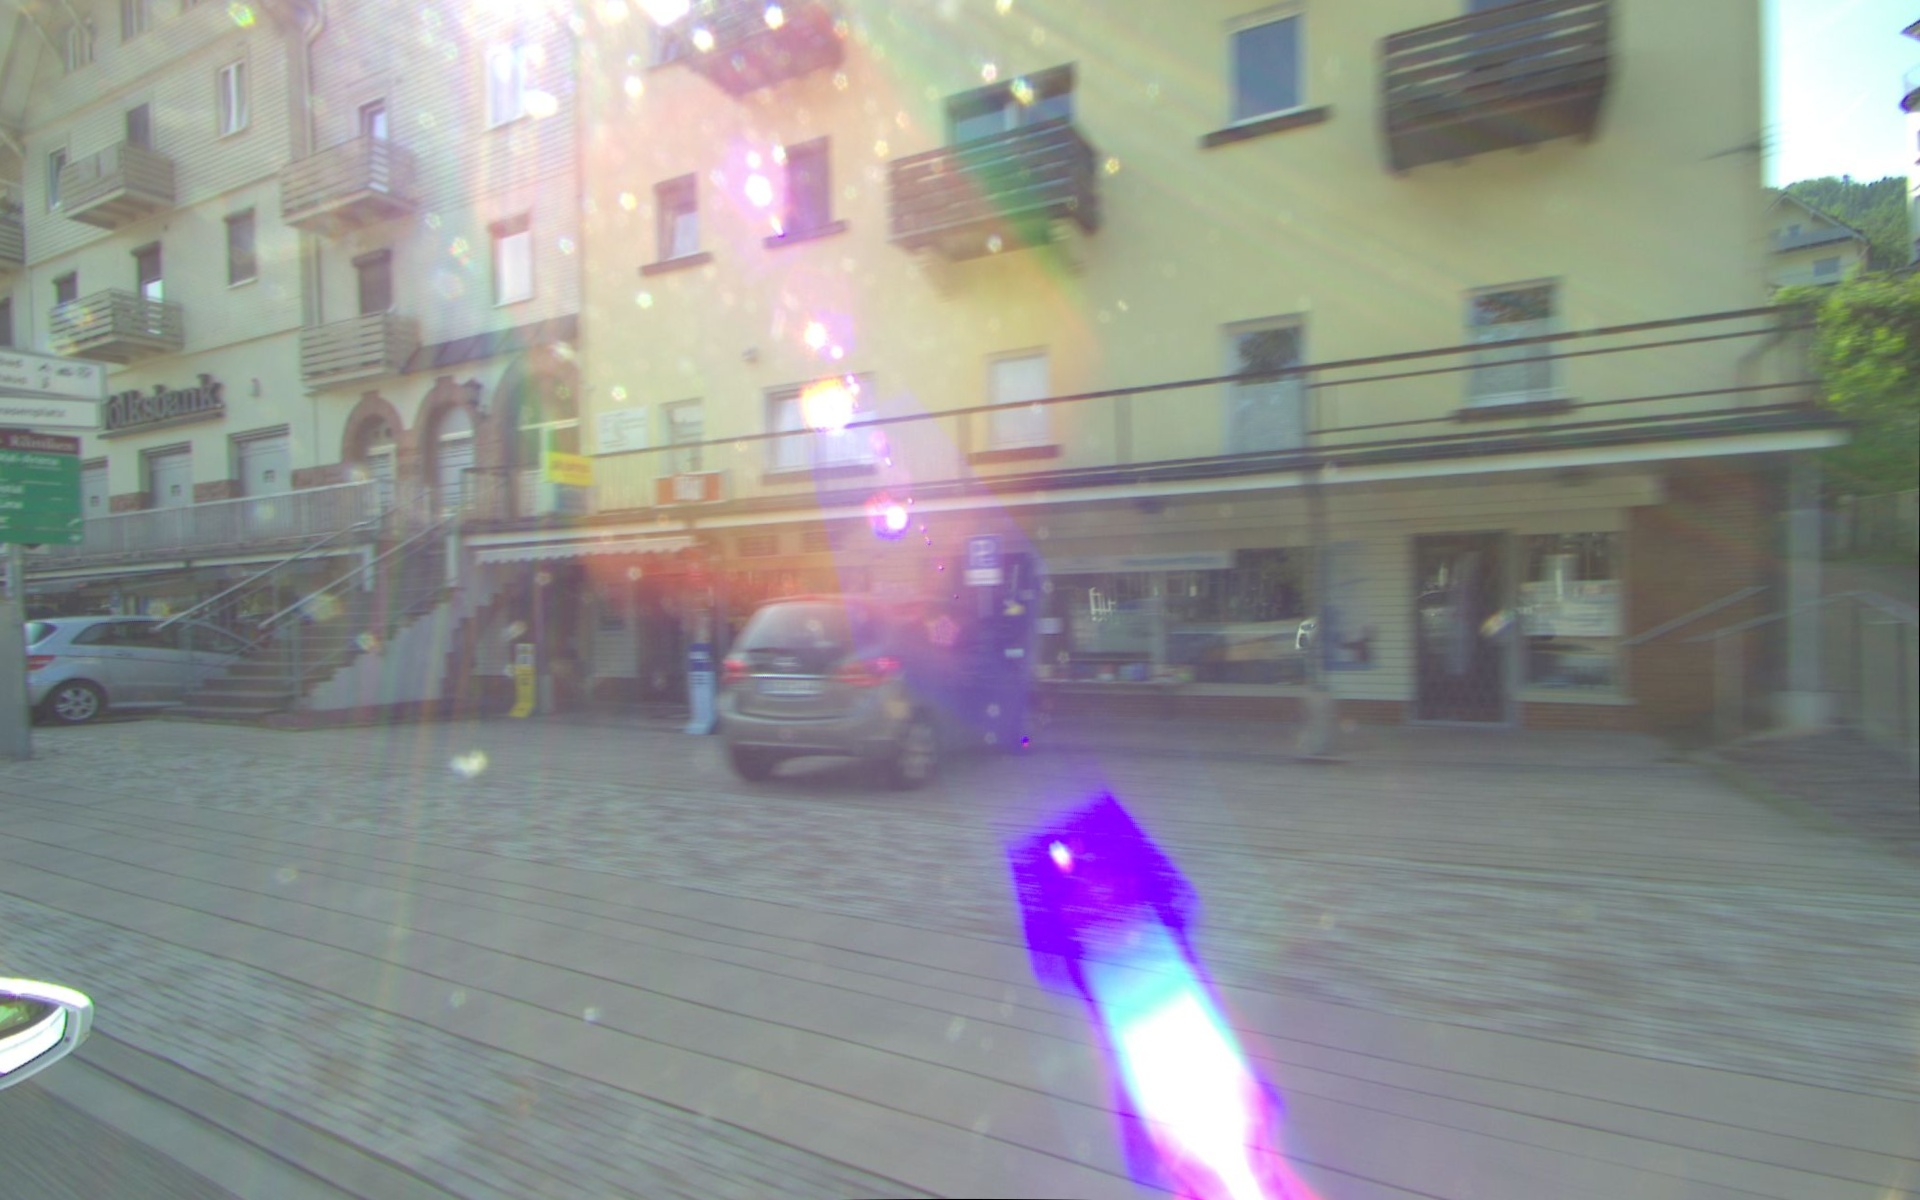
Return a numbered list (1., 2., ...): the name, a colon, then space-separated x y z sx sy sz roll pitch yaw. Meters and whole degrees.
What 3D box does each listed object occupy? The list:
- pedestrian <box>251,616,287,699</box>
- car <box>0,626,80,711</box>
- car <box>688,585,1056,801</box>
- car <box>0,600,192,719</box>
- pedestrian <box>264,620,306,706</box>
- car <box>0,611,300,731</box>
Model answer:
1. pedestrian: -14.196 1.174 20.572 0.429 1.681 0.410 0 3 36
2. car: -17.967 1.184 17.228 1.709 1.479 3.908 -1 -2 28
3. car: -0.578 0.767 9.425 1.732 1.574 3.861 -1 -2 26
4. car: -15.350 0.978 16.453 1.829 1.826 3.908 -2 -3 28
5. pedestrian: -13.617 1.262 20.197 0.426 1.681 0.457 -2 2 11
6. car: -12.799 1.037 15.540 1.747 1.609 3.908 0 -2 28
